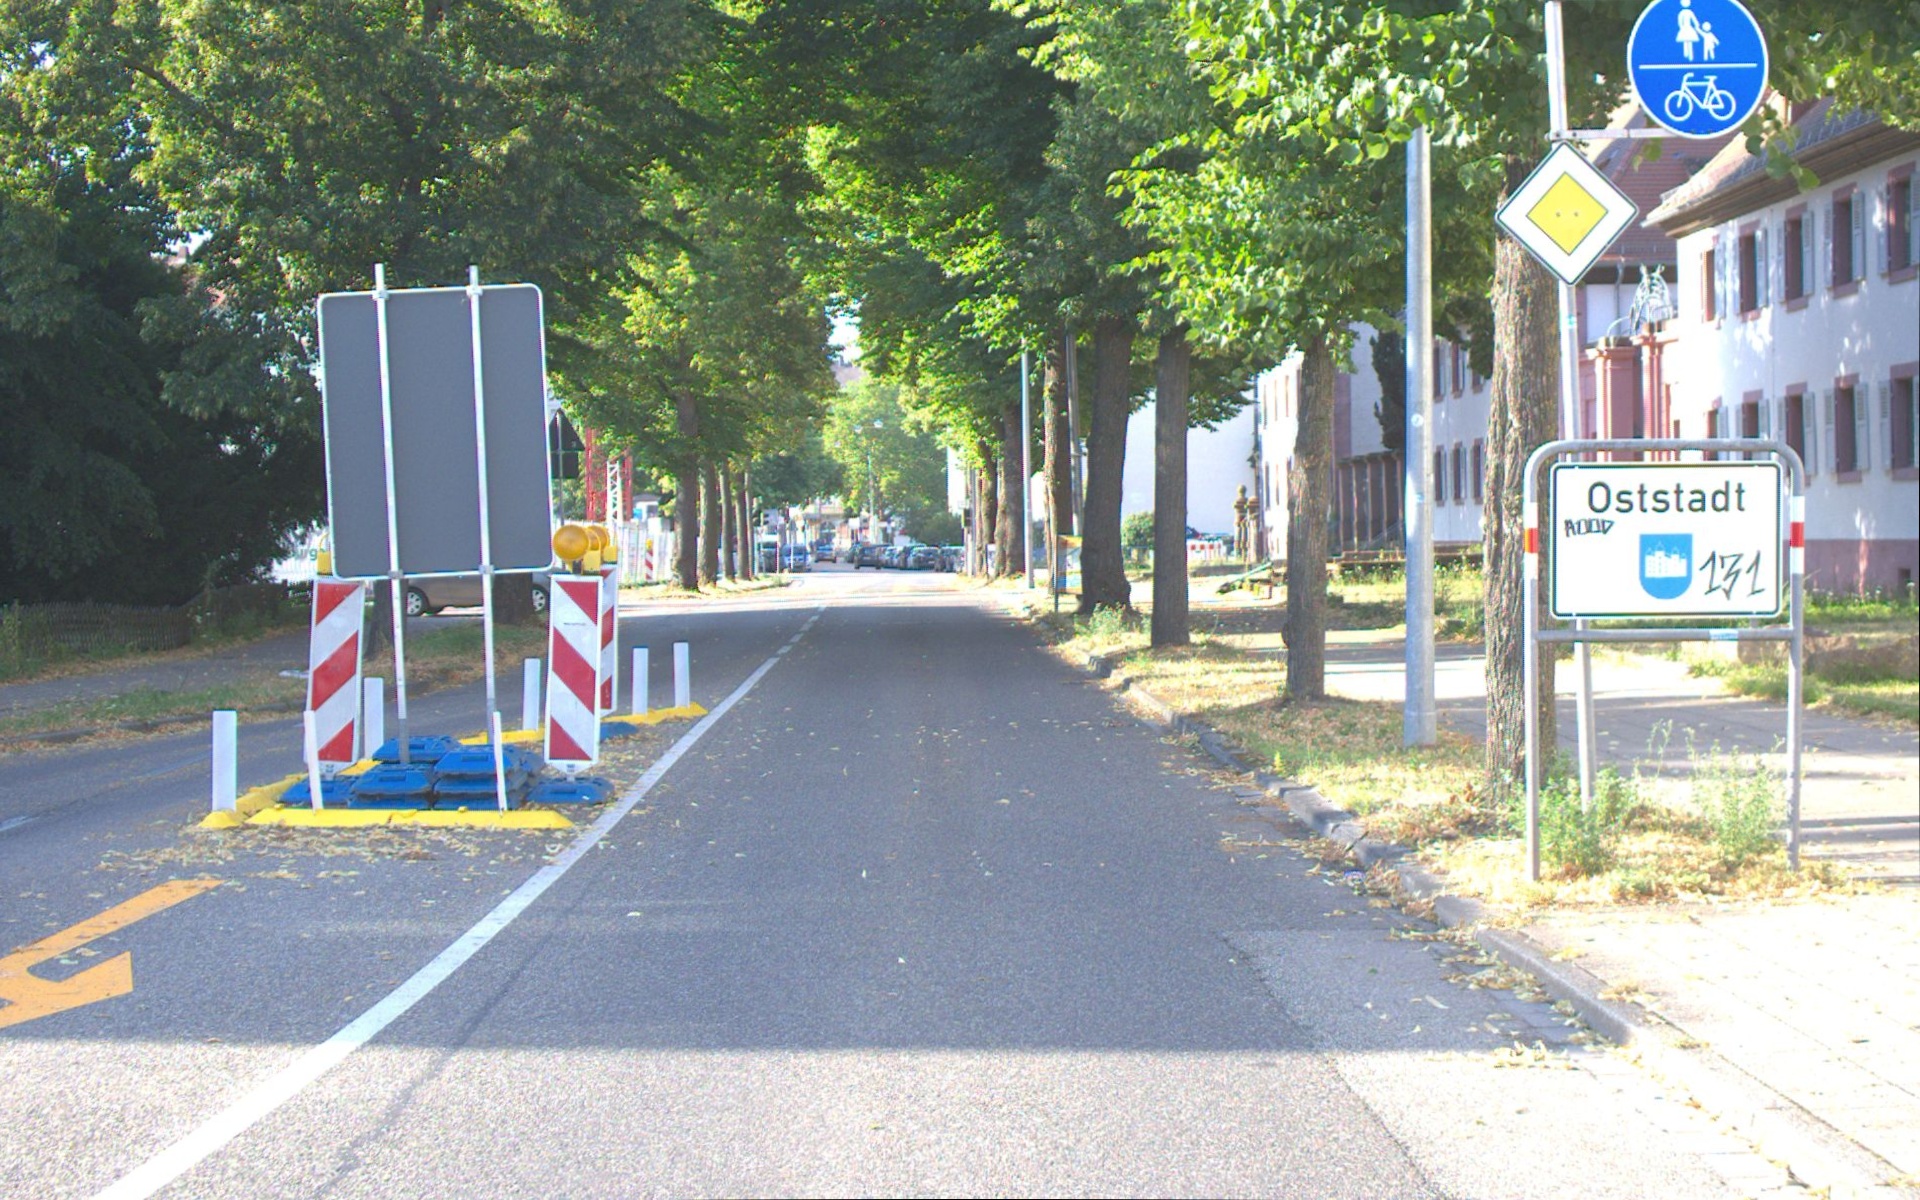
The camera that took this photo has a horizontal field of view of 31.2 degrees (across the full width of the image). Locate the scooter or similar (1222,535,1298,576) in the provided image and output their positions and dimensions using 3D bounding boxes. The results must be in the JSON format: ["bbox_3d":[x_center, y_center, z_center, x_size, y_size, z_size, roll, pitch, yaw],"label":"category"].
[{"bbox_3d":[5.526,-0.832,63.451,1.225,0.547,1.064,-10,1,-1],"label":"scooter or similar"}]

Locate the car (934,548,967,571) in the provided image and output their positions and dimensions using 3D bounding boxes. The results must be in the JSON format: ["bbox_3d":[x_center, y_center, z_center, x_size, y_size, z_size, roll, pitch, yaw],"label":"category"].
[{"bbox_3d":[-0.587,-2.406,204.745,1.841,1.256,4.000,-2,1,-1],"label":"car"}]

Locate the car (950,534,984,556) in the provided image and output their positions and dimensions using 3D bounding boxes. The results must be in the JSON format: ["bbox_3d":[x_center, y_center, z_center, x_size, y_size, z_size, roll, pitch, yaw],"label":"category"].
[{"bbox_3d":[0.434,-3.173,197.929,1.841,1.256,4.000,-1,1,2],"label":"car"}]

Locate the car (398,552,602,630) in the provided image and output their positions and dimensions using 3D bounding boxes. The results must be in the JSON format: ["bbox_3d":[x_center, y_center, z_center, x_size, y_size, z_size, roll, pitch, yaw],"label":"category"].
[{"bbox_3d":[-9.273,-0.191,69.423,3.844,1.468,1.651,-1,1,2],"label":"car"}]

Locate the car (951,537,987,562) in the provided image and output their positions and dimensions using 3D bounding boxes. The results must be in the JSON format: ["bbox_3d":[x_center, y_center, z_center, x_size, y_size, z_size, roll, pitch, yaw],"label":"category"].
[{"bbox_3d":[0.468,-2.748,187.210,1.841,1.256,4.000,-2,1,-1],"label":"car"}]

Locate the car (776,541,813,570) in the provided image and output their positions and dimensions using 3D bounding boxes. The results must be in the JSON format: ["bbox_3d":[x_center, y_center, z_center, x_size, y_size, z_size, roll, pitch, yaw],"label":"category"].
[{"bbox_3d":[-10.106,-2.707,209.698,1.993,1.682,4.001,-2,0,-6],"label":"car"}]

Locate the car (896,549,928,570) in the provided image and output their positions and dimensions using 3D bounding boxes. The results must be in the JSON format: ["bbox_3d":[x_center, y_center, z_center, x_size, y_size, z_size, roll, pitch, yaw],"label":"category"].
[{"bbox_3d":[-3.272,-2.739,233.823,1.841,1.381,4.001,-2,1,-4],"label":"car"}]

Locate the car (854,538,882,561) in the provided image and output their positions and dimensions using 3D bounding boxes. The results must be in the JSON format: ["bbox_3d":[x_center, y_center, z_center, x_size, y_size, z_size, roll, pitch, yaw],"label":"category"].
[{"bbox_3d":[-6.381,-3.471,238.117,1.714,1.481,4.001,-2,0,-4],"label":"car"}]
